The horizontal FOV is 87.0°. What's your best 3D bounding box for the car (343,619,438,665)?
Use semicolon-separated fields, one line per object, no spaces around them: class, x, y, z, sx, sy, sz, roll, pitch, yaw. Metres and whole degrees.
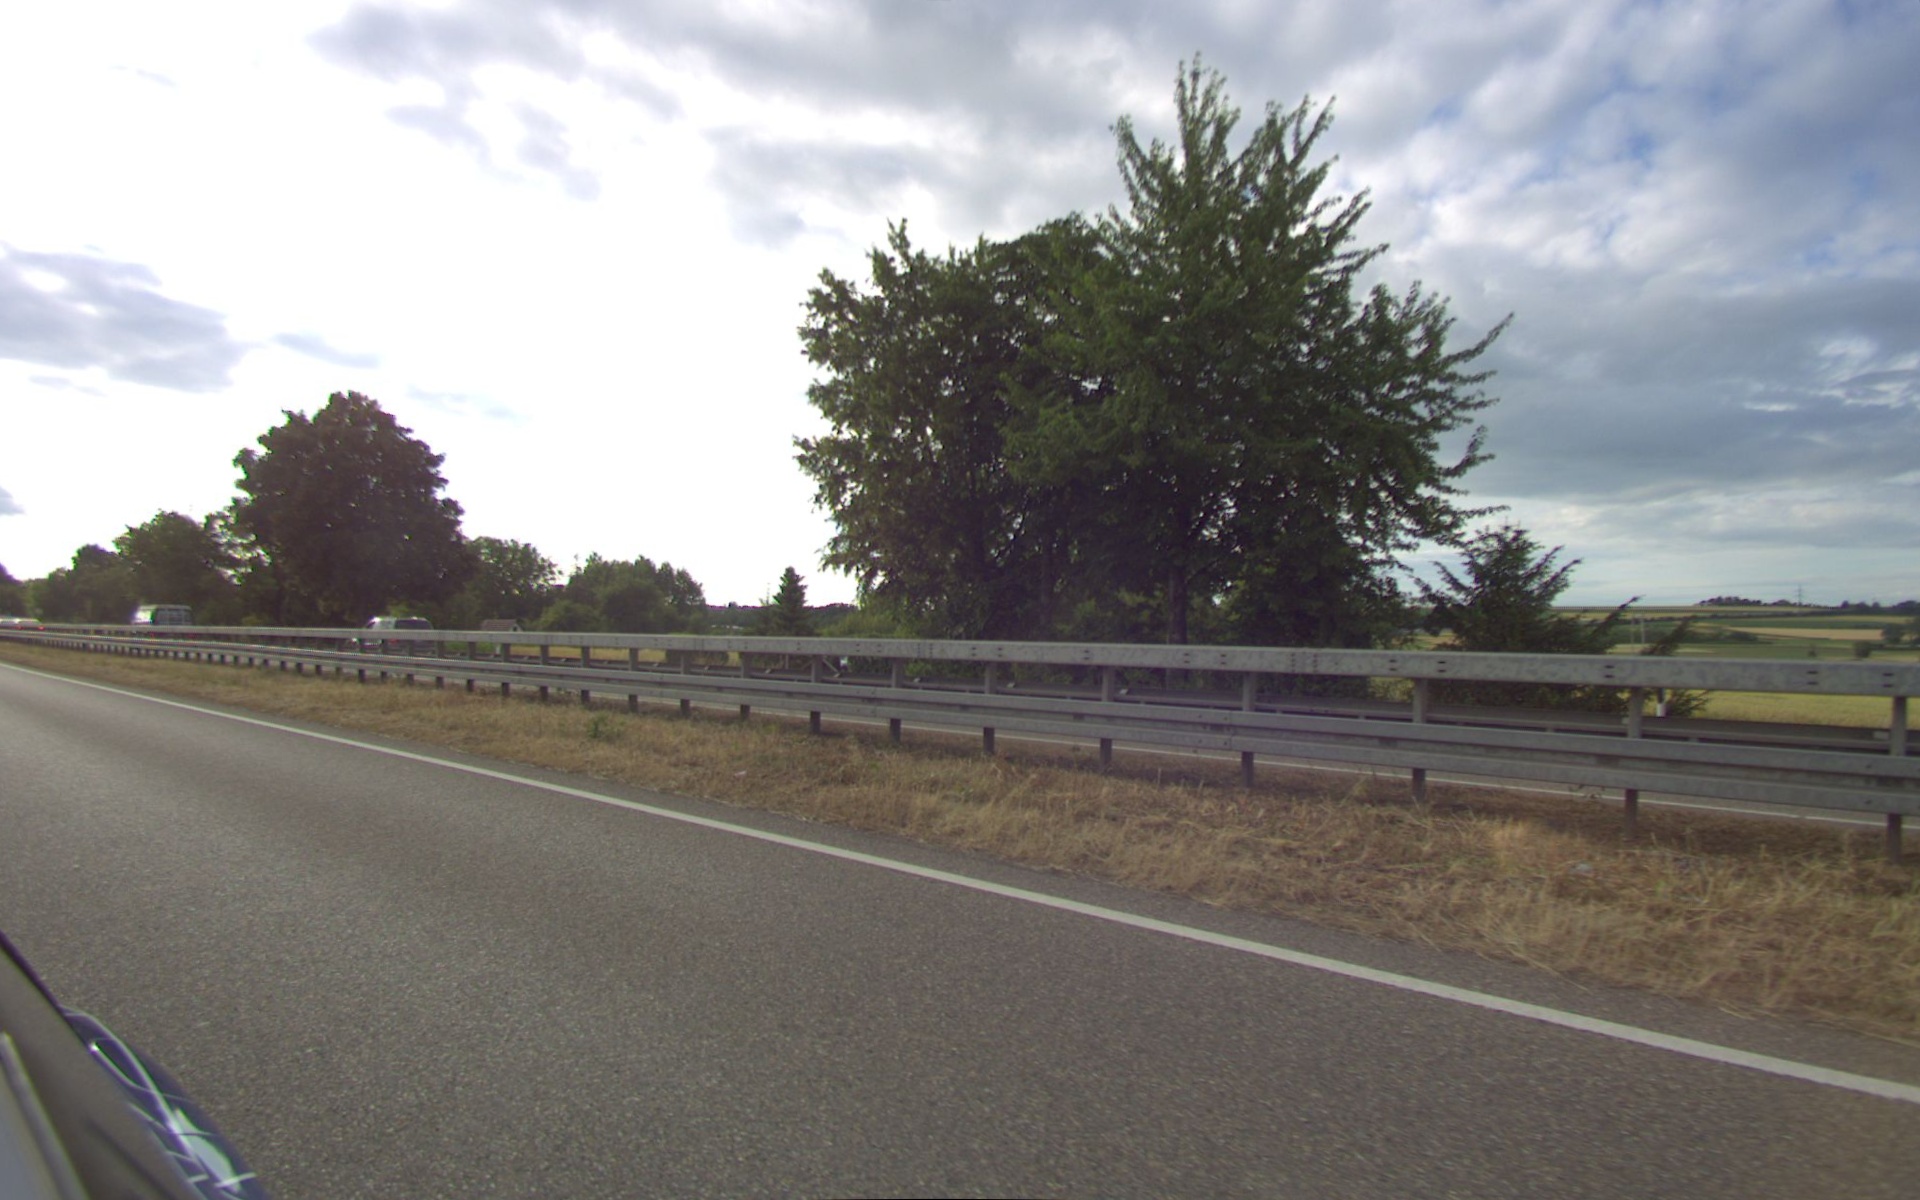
car;-21.684;1.569;38.446;4.482;1.638;1.778;-1;-3;42

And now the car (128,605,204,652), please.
car;-38.556;1.407;49.069;5.317;2.157;1.972;-1;-3;42
